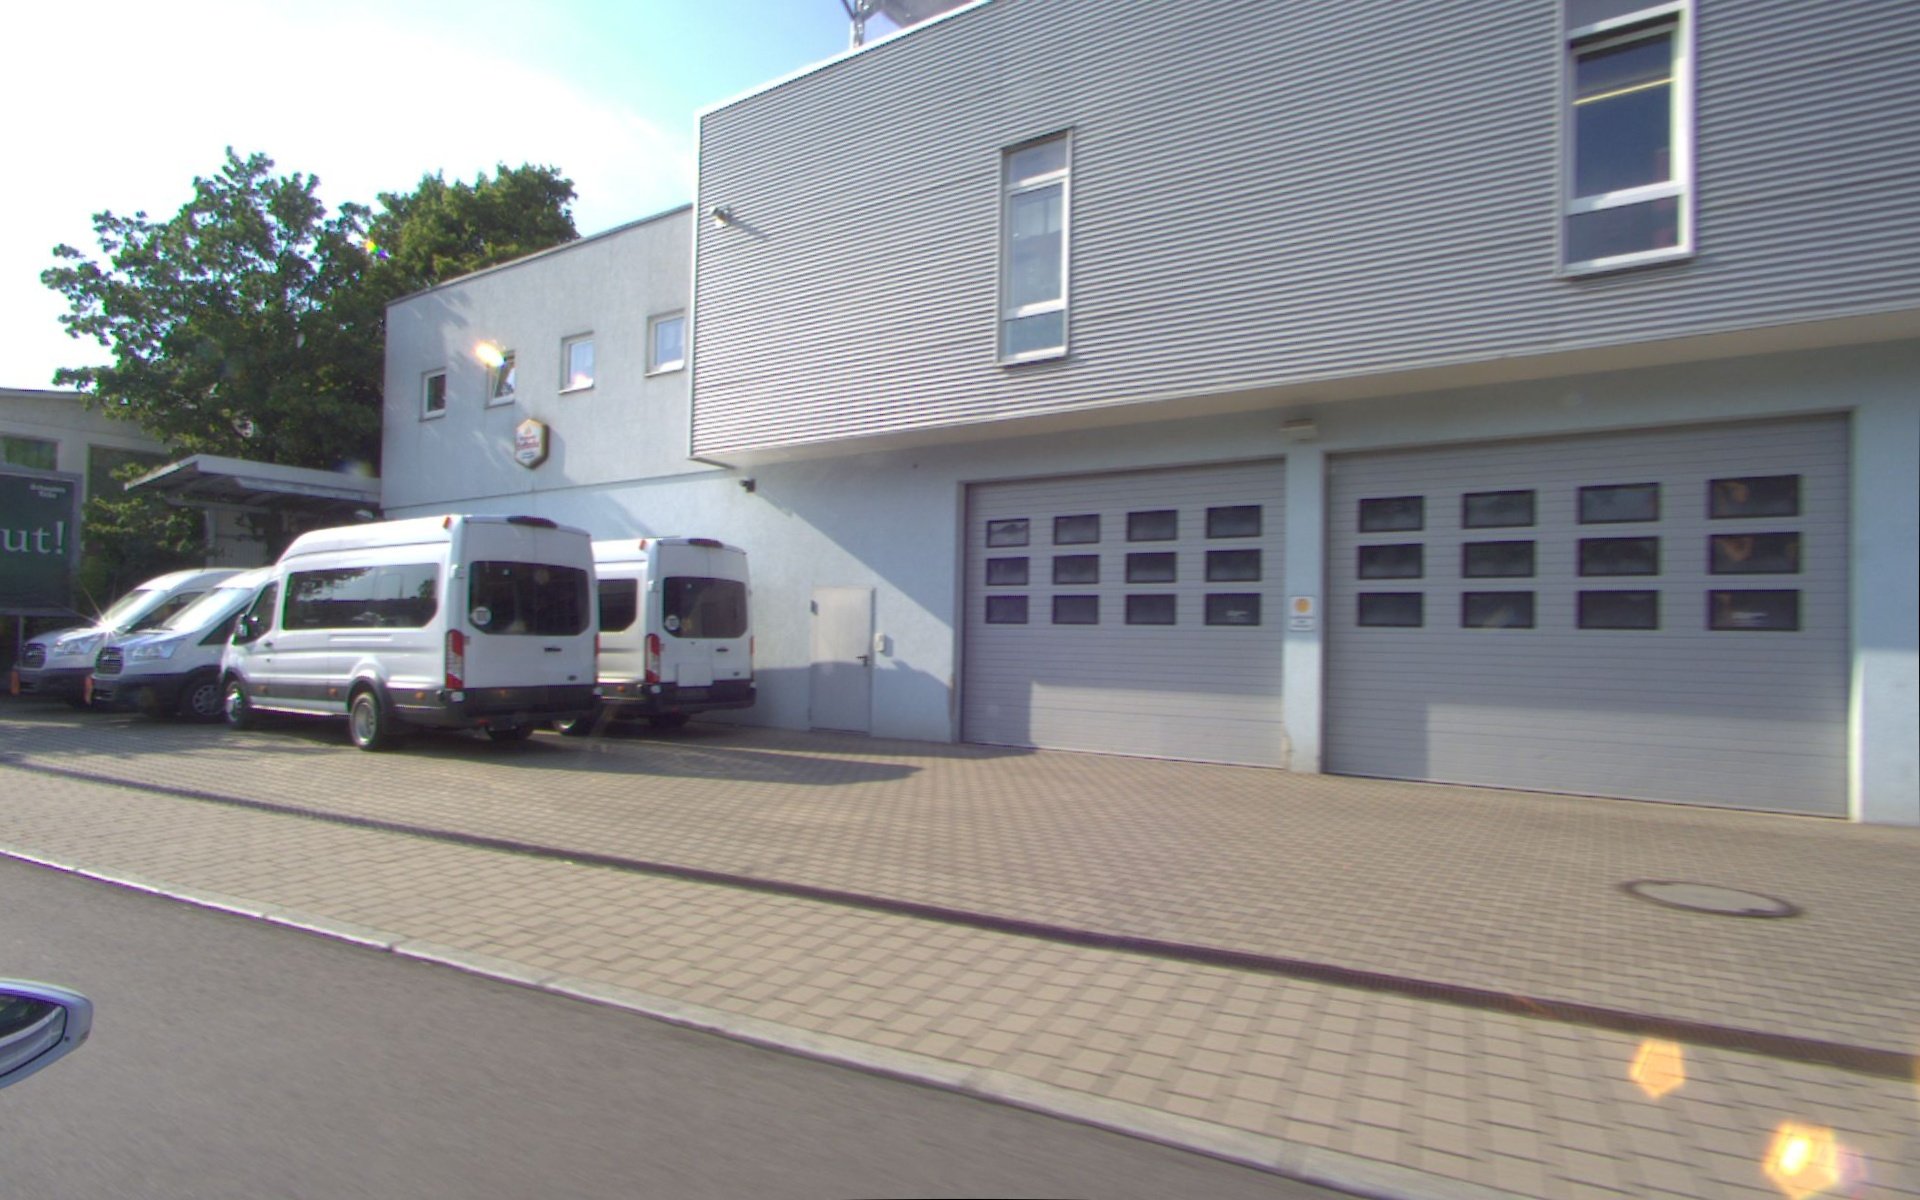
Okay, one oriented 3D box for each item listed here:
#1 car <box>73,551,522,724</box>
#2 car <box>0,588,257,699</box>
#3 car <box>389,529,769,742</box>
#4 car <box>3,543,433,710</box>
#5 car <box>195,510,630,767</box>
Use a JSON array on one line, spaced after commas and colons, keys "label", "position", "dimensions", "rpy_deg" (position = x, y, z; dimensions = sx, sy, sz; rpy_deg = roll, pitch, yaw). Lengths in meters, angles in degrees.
[{"label": "car", "position": [-10.732, 0.626, 16.927], "dimensions": [2.014, 2.393, 6.036], "rpy_deg": [0, -2, 31]}, {"label": "car", "position": [-16.008, 0.823, 19.365], "dimensions": [1.563, 1.918, 3.596], "rpy_deg": [0, -2, 30]}, {"label": "car", "position": [-6.077, 0.499, 15.575], "dimensions": [6.350, 2.757, 2.108], "rpy_deg": [0, -1, 32]}, {"label": "car", "position": [-13.221, 0.514, 18.441], "dimensions": [2.014, 2.548, 6.036], "rpy_deg": [0, -2, 31]}, {"label": "car", "position": [-7.422, 0.441, 13.248], "dimensions": [6.508, 2.715, 2.146], "rpy_deg": [0, -1, 33]}]
